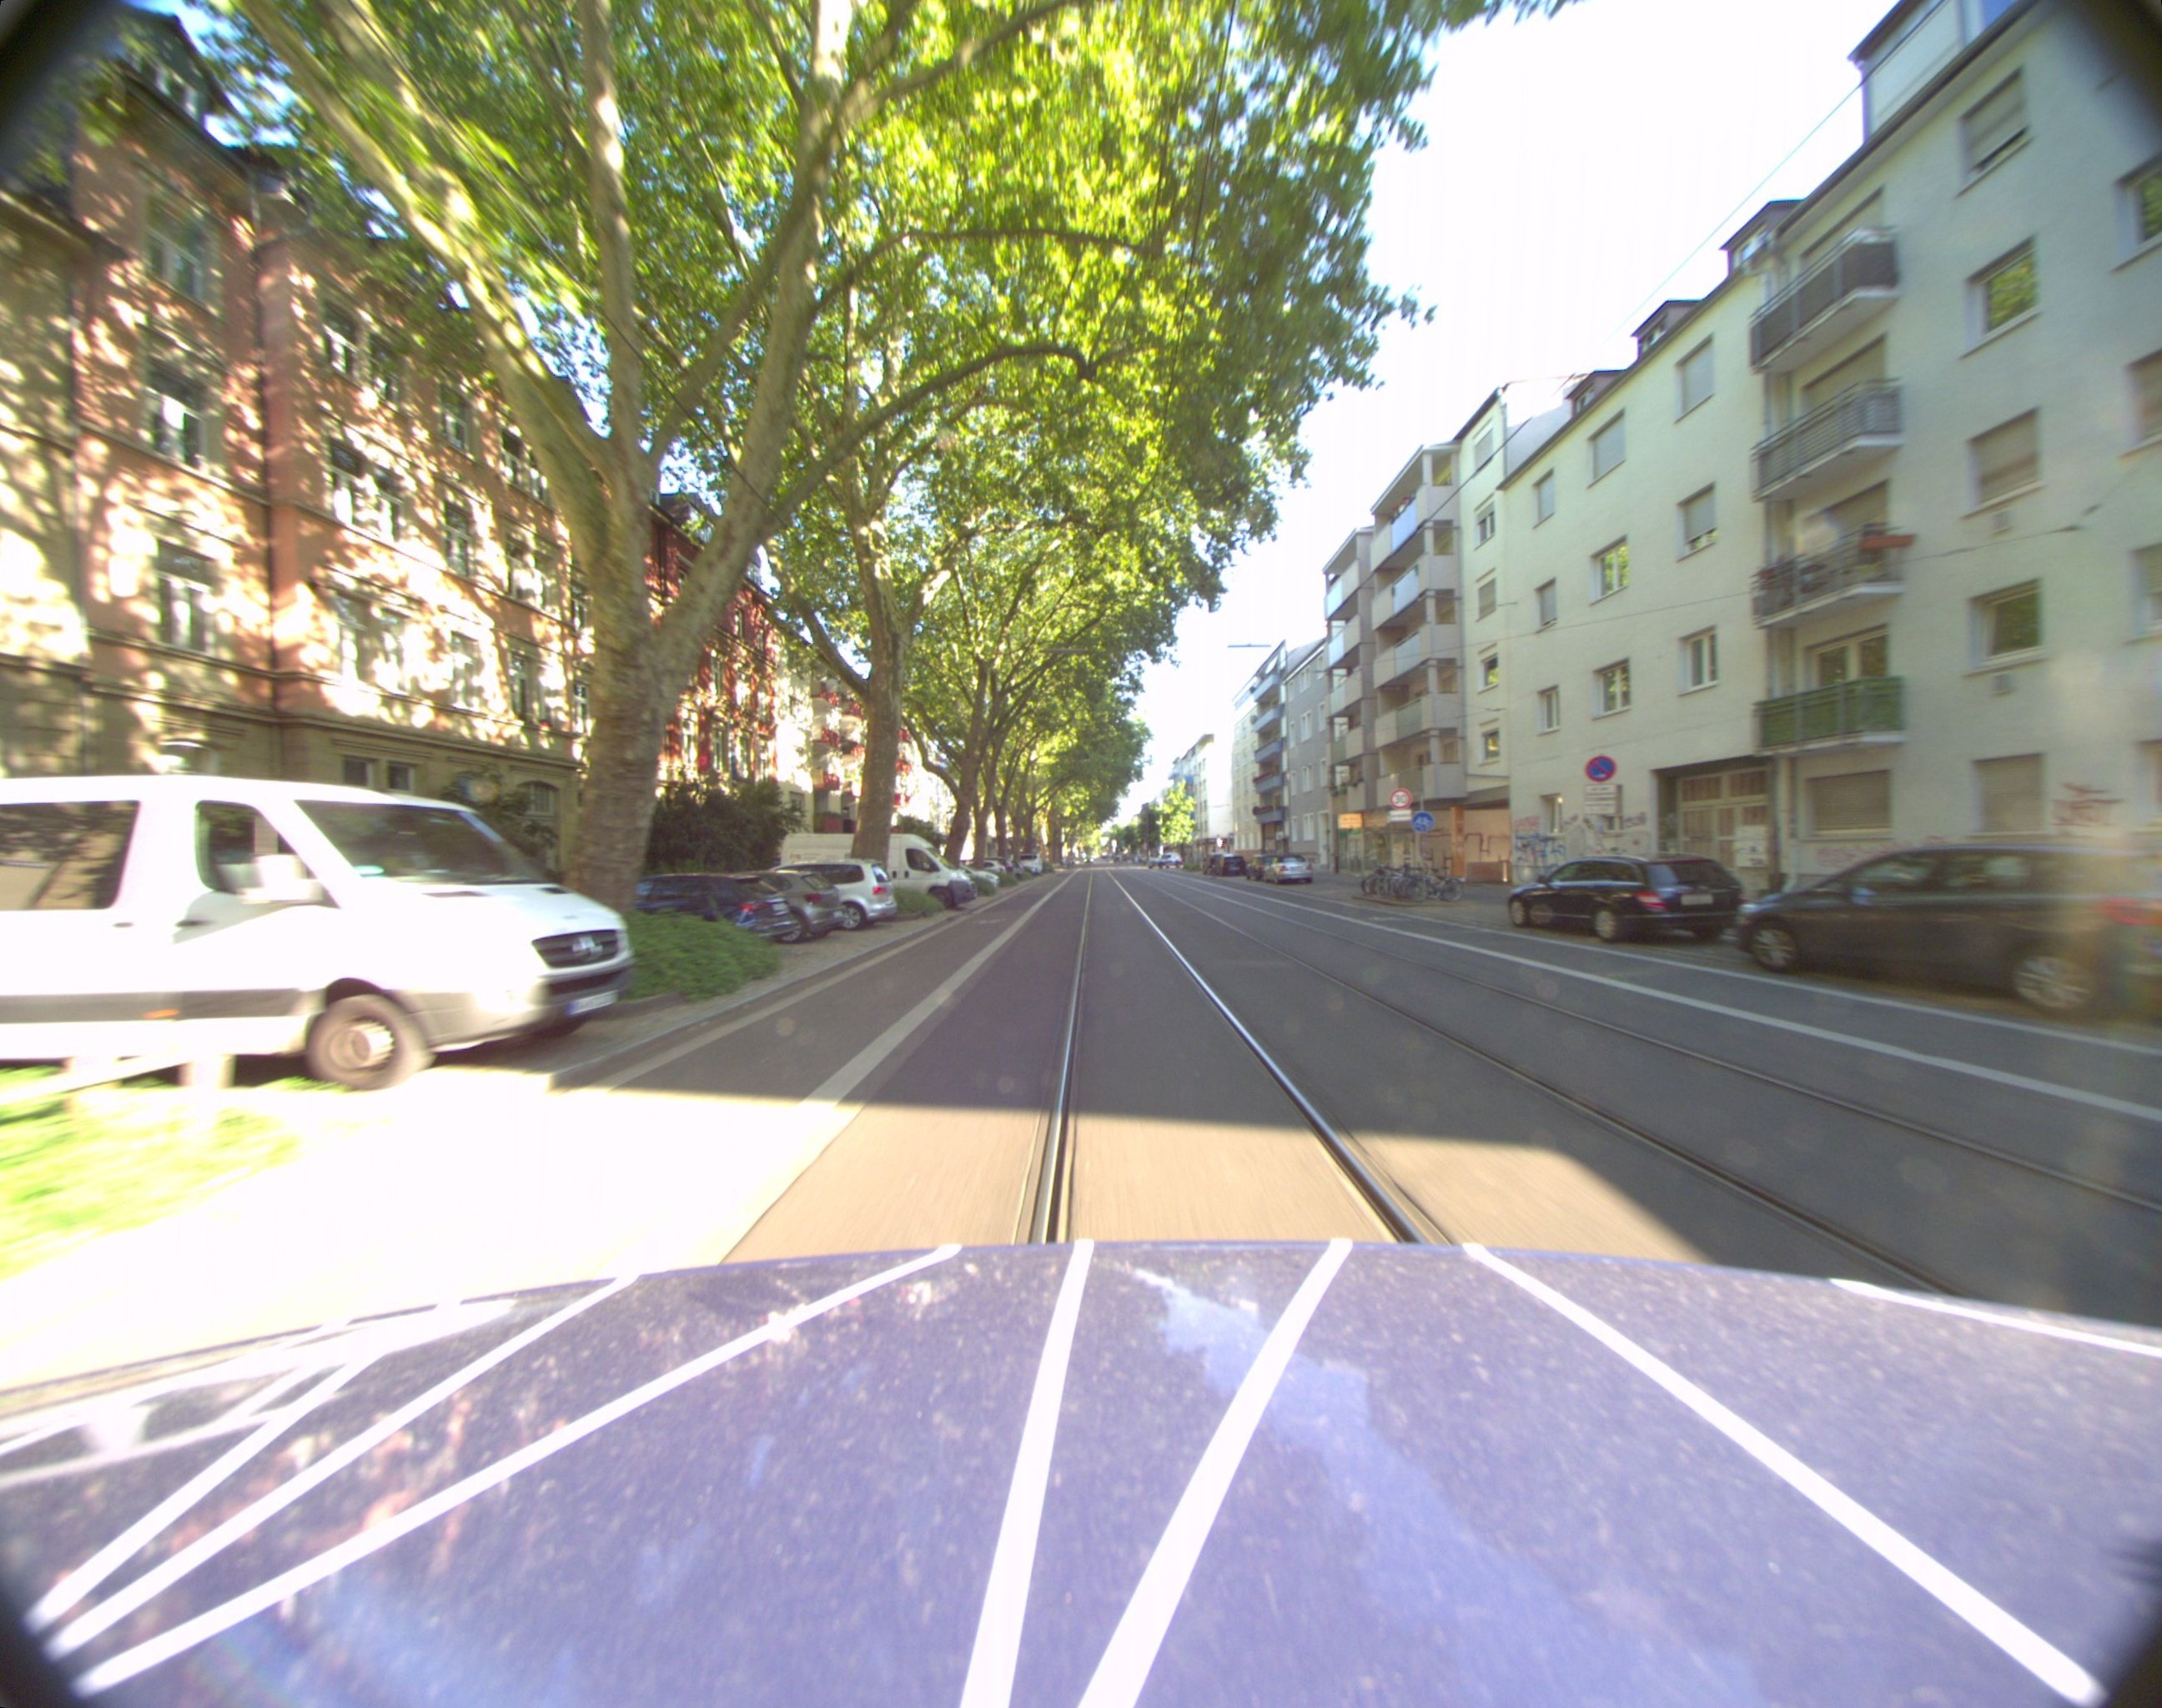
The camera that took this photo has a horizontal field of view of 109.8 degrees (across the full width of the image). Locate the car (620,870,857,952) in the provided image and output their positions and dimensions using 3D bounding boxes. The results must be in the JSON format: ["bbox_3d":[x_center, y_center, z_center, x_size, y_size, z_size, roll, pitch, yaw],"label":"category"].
[{"bbox_3d":[-6.823,1.110,15.456,3.964,1.470,1.796,-1,0,1],"label":"car"}]

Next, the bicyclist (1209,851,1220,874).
[{"bbox_3d":[8.392,0.536,47.788,0.510,1.386,0.709,0,1,1],"label":"bicyclist"}]

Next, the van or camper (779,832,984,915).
[{"bbox_3d":[-6.325,0.591,24.627,6.047,2.476,2.107,-1,1,1],"label":"van or camper"}]

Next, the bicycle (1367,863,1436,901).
[{"bbox_3d":[10.312,0.898,24.464,1.972,1.112,0.425,-3,1,8],"label":"bicycle"}]

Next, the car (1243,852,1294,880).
[{"bbox_3d":[10.567,0.661,43.137,1.798,1.482,4.240,-1,0,0],"label":"car"}]

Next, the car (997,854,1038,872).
[{"bbox_3d":[-5.737,0.836,68.762,3.572,1.522,1.677,-1,0,-1],"label":"car"}]

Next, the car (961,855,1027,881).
[{"bbox_3d":[-5.927,0.922,51.890,4.302,1.643,1.743,-1,0,-1],"label":"car"}]

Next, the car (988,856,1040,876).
[{"bbox_3d":[-5.091,0.928,57.628,3.837,1.435,1.700,0,-1,-5],"label":"car"}]

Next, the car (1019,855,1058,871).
[{"bbox_3d":[-4.198,0.896,75.633,3.570,1.431,1.727,-1,1,4],"label":"car"}]

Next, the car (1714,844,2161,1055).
[{"bbox_3d":[9.284,0.734,7.931,1.723,1.622,4.346,-1,0,0],"label":"car"}]

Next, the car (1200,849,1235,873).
[{"bbox_3d":[10.570,0.519,59.036,1.784,1.728,4.489,-3,0,-1],"label":"car"}]

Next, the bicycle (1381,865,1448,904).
[{"bbox_3d":[10.204,0.941,23.294,1.792,1.112,0.425,-3,1,8],"label":"bicycle"}]

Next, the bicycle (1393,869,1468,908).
[{"bbox_3d":[10.067,0.985,21.929,1.897,1.032,0.402,-3,1,8],"label":"bicycle"}]

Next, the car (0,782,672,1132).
[{"bbox_3d":[-6.814,0.742,6.096,6.005,2.269,2.007,-1,0,3],"label":"car"}]

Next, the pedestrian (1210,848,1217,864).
[{"bbox_3d":[15.415,0.237,88.535,0.773,1.888,0.799,-3,1,9],"label":"pedestrian"}]

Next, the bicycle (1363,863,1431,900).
[{"bbox_3d":[10.356,0.894,24.951,1.964,1.112,0.440,-3,1,8],"label":"bicycle"}]

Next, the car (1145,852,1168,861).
[{"bbox_3d":[13.523,0.360,136.429,3.953,1.515,1.587,-1,0,5],"label":"car"}]

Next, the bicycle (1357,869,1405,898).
[{"bbox_3d":[10.548,1.039,26.707,1.624,0.911,0.401,-3,1,-15],"label":"bicycle"}]

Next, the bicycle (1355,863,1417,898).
[{"bbox_3d":[10.465,0.919,26.119,1.897,1.112,0.402,-3,1,8],"label":"bicycle"}]

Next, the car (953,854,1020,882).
[{"bbox_3d":[-6.086,0.887,49.232,4.003,1.734,1.805,-1,0,1],"label":"car"}]

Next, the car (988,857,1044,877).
[{"bbox_3d":[-5.118,0.998,60.130,4.206,1.473,1.912,-1,0,2],"label":"car"}]

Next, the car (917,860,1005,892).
[{"bbox_3d":[-5.756,1.034,36.713,3.963,1.471,1.688,-1,0,2],"label":"car"}]

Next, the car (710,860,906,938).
[{"bbox_3d":[-6.371,1.021,18.064,3.965,1.646,1.795,-1,1,-2],"label":"car"}]

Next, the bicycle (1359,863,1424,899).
[{"bbox_3d":[10.391,0.890,25.489,1.934,1.112,0.440,-3,1,8],"label":"bicycle"}]

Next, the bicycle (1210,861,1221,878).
[{"bbox_3d":[8.378,0.948,47.402,0.418,1.012,1.947,0,0,2],"label":"bicycle"}]

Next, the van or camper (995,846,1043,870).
[{"bbox_3d":[-5.829,0.368,71.444,4.388,2.097,1.838,-1,1,-2],"label":"van or camper"}]

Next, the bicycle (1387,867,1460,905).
[{"bbox_3d":[10.132,0.954,22.495,1.897,1.032,0.402,-3,1,8],"label":"bicycle"}]

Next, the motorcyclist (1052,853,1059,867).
[{"bbox_3d":[-3.121,0.753,91.826,0.756,1.609,0.588,-1,1,-6],"label":"motorcyclist"}]

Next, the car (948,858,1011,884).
[{"bbox_3d":[-6.242,1.051,46.806,3.618,1.486,1.660,-1,0,0],"label":"car"}]

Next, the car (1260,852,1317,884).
[{"bbox_3d":[10.328,0.660,38.134,1.693,1.482,4.728,-1,0,2],"label":"car"}]

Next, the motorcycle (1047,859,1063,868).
[{"bbox_3d":[-3.142,1.160,91.800,1.832,1.112,0.590,-1,1,-7],"label":"motorcycle"}]

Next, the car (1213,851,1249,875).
[{"bbox_3d":[10.545,0.600,53.776,1.660,1.591,4.202,-3,0,0],"label":"car"}]

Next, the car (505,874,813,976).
[{"bbox_3d":[-6.821,1.122,12.620,4.064,1.451,1.796,-1,0,0],"label":"car"}]

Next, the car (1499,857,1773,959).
[{"bbox_3d":[9.516,0.811,13.589,1.722,1.448,4.573,-1,0,3],"label":"car"}]

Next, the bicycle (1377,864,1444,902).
[{"bbox_3d":[10.293,0.901,23.778,1.822,1.112,0.425,-3,1,8],"label":"bicycle"}]
